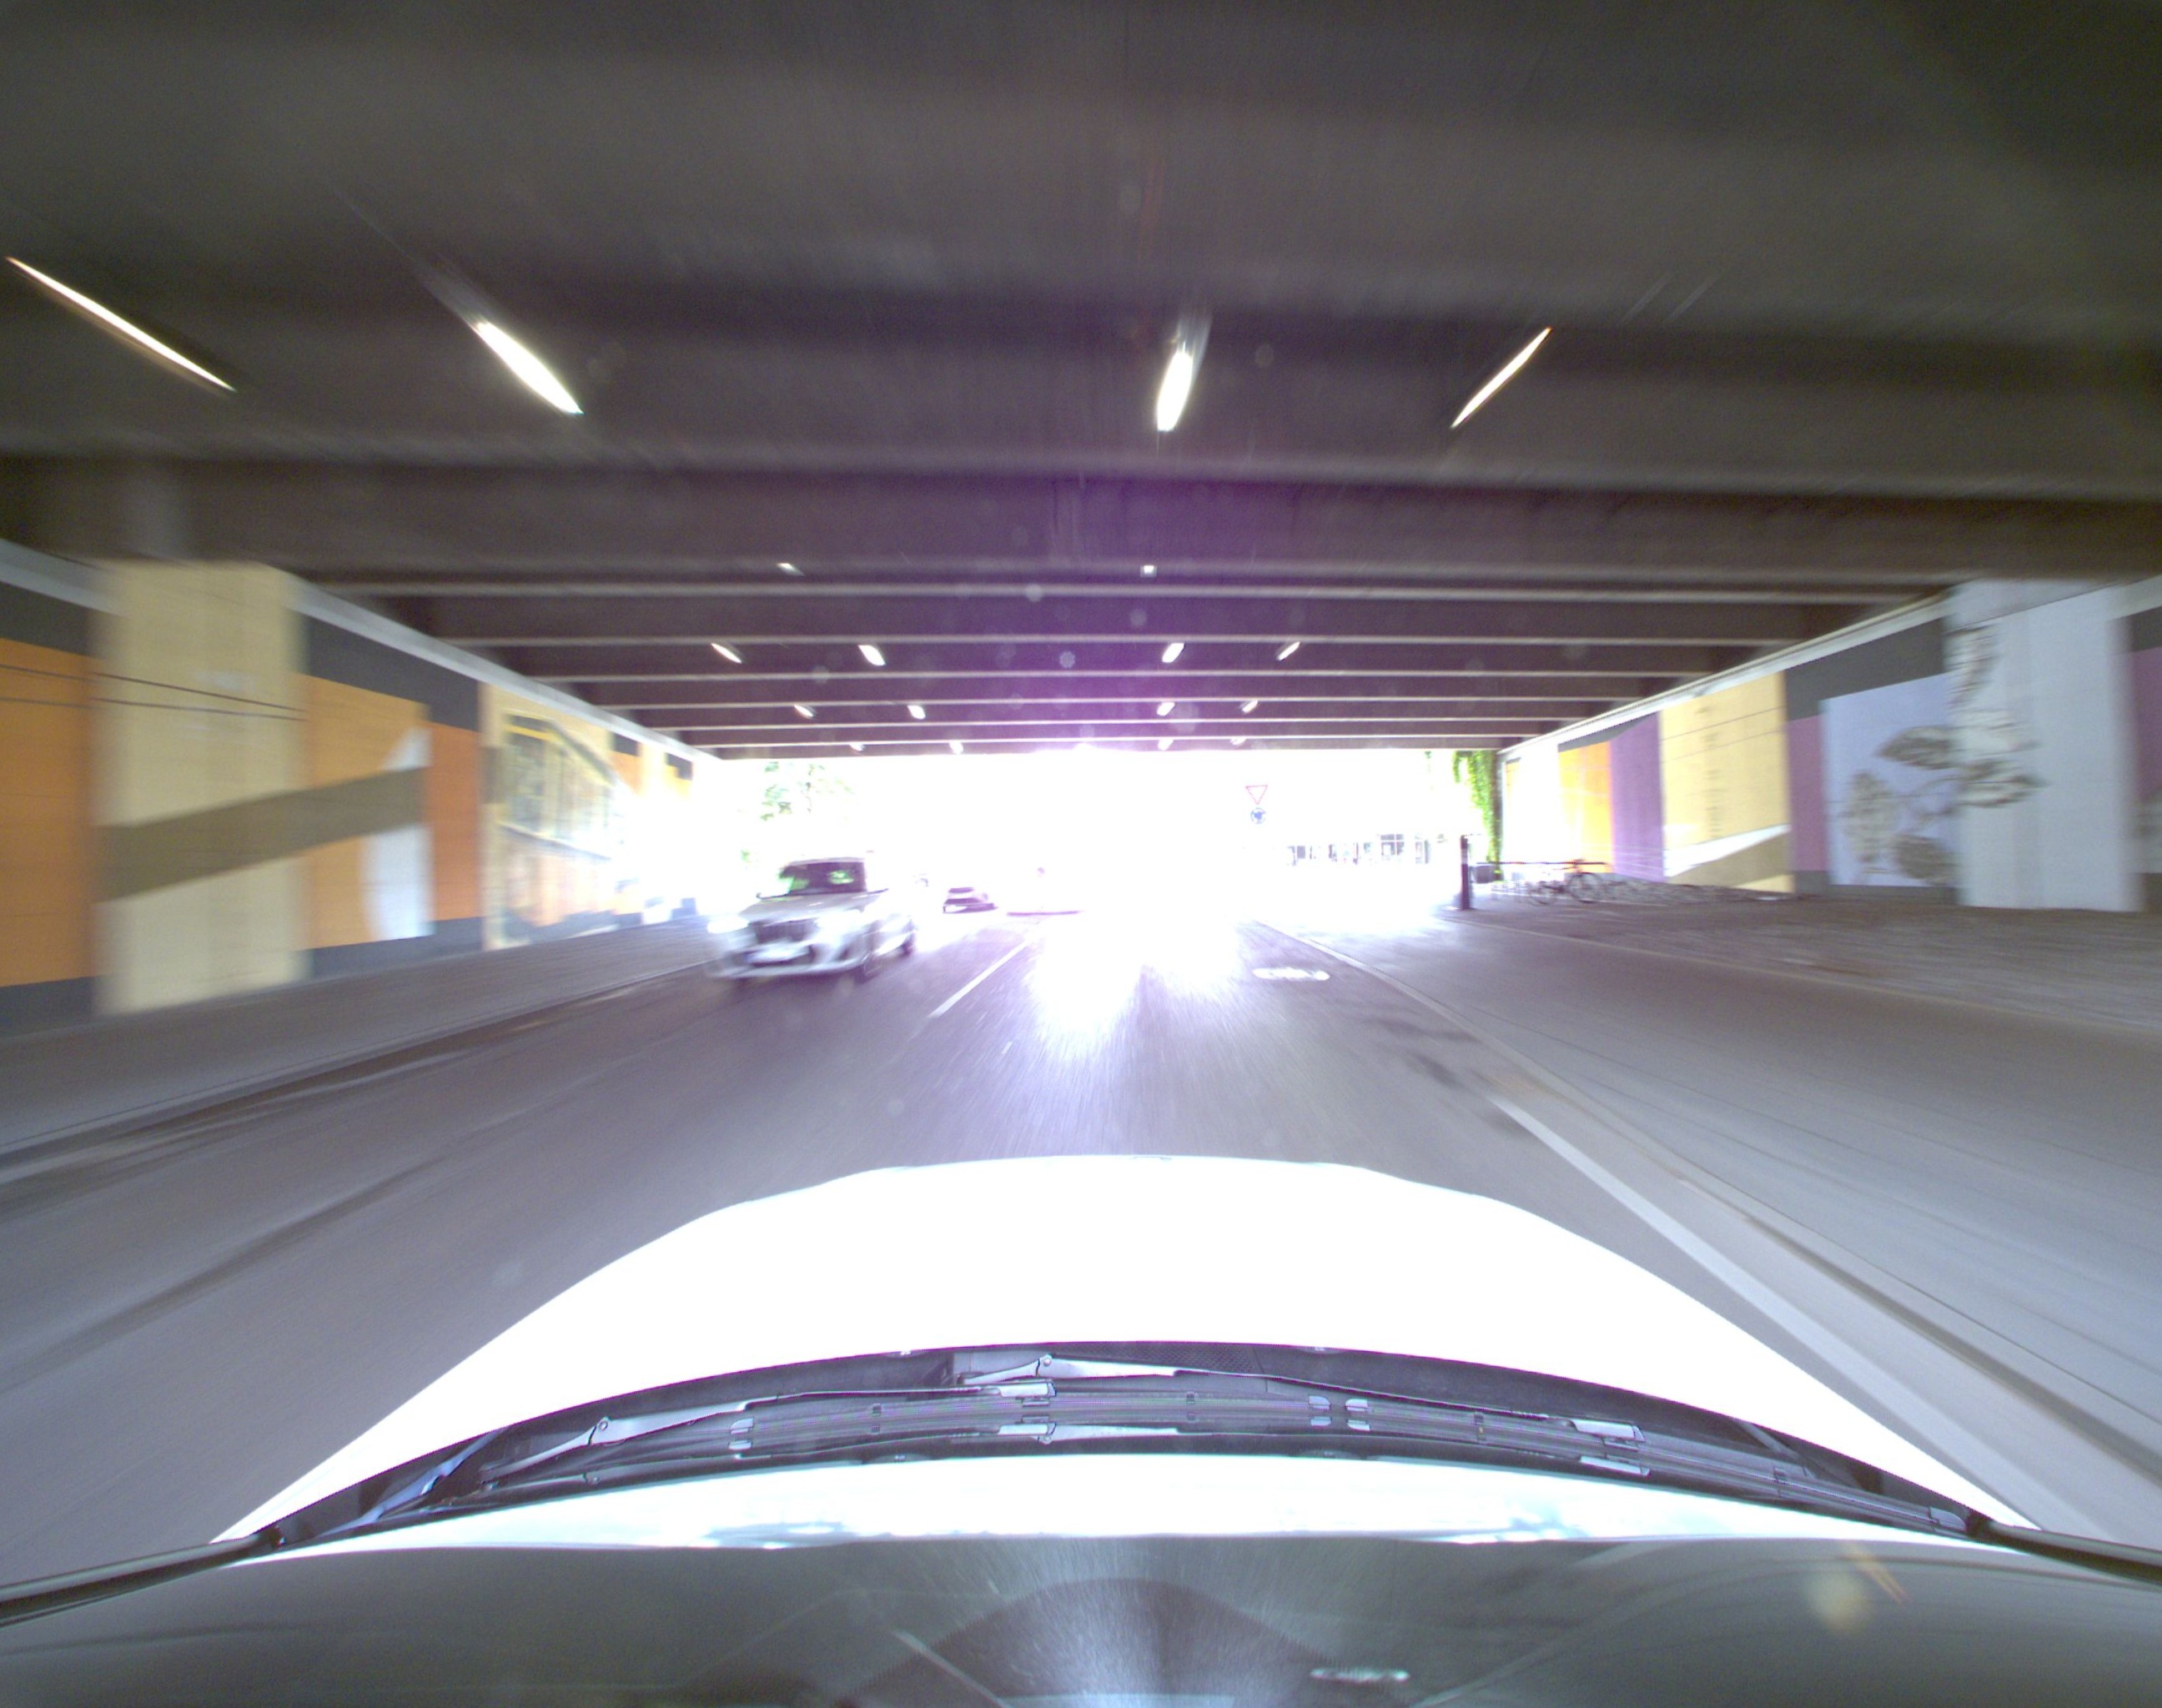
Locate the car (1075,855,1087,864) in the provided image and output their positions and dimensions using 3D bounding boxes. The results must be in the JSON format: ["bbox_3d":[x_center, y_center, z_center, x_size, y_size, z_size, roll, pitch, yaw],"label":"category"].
[{"bbox_3d":[-0.069,0.794,127.675,1.705,1.354,3.997,-1,0,-2],"label":"car"}]

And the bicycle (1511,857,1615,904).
[{"bbox_3d":[10.372,0.566,17.541,1.940,0.904,0.506,-3,-1,-3],"label":"bicycle"}]

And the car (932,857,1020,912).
[{"bbox_3d":[-3.084,0.856,24.607,1.663,1.447,3.860,-3,0,7],"label":"car"}]

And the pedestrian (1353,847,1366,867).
[{"bbox_3d":[22.510,0.240,65.782,0.698,1.674,0.613,-1,0,-22],"label":"pedestrian"}]

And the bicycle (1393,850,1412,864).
[{"bbox_3d":[28.361,0.272,71.883,1.523,1.168,0.499,-1,-1,35],"label":"bicycle"}]

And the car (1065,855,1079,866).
[{"bbox_3d":[-1.179,0.802,104.521,1.705,1.354,3.997,-1,0,-2],"label":"car"}]

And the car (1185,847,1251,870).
[{"bbox_3d":[10.583,0.365,63.059,4.633,1.688,2.012,-2,0,44],"label":"car"}]

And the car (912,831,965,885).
[{"bbox_3d":[-7.292,0.206,42.153,1.963,2.607,5.924,0,0,-3],"label":"car"}]

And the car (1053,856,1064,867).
[{"bbox_3d":[-3.594,1.217,130.164,1.705,1.712,3.997,-1,0,-2],"label":"car"}]

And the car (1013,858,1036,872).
[{"bbox_3d":[-5.503,1.096,79.915,1.702,1.245,4.415,-1,0,3],"label":"car"}]

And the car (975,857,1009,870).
[{"bbox_3d":[-12.180,1.290,111.414,4.425,1.776,1.990,-1,-1,-15],"label":"car"}]

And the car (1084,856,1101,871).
[{"bbox_3d":[1.245,0.989,88.175,1.818,1.519,4.233,-2,-1,1],"label":"car"}]

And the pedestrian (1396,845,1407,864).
[{"bbox_3d":[28.329,0.026,71.999,0.695,1.674,0.615,-1,0,-10],"label":"pedestrian"}]

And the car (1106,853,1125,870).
[{"bbox_3d":[3.824,0.808,89.276,1.816,1.731,4.239,-3,-1,5],"label":"car"}]

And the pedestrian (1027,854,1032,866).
[{"bbox_3d":[-6.990,0.791,110.142,0.550,1.686,0.516,-1,0,-2],"label":"pedestrian"}]

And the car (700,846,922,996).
[{"bbox_3d":[-3.564,0.786,11.648,1.821,1.654,4.210,-3,0,-2],"label":"car"}]
